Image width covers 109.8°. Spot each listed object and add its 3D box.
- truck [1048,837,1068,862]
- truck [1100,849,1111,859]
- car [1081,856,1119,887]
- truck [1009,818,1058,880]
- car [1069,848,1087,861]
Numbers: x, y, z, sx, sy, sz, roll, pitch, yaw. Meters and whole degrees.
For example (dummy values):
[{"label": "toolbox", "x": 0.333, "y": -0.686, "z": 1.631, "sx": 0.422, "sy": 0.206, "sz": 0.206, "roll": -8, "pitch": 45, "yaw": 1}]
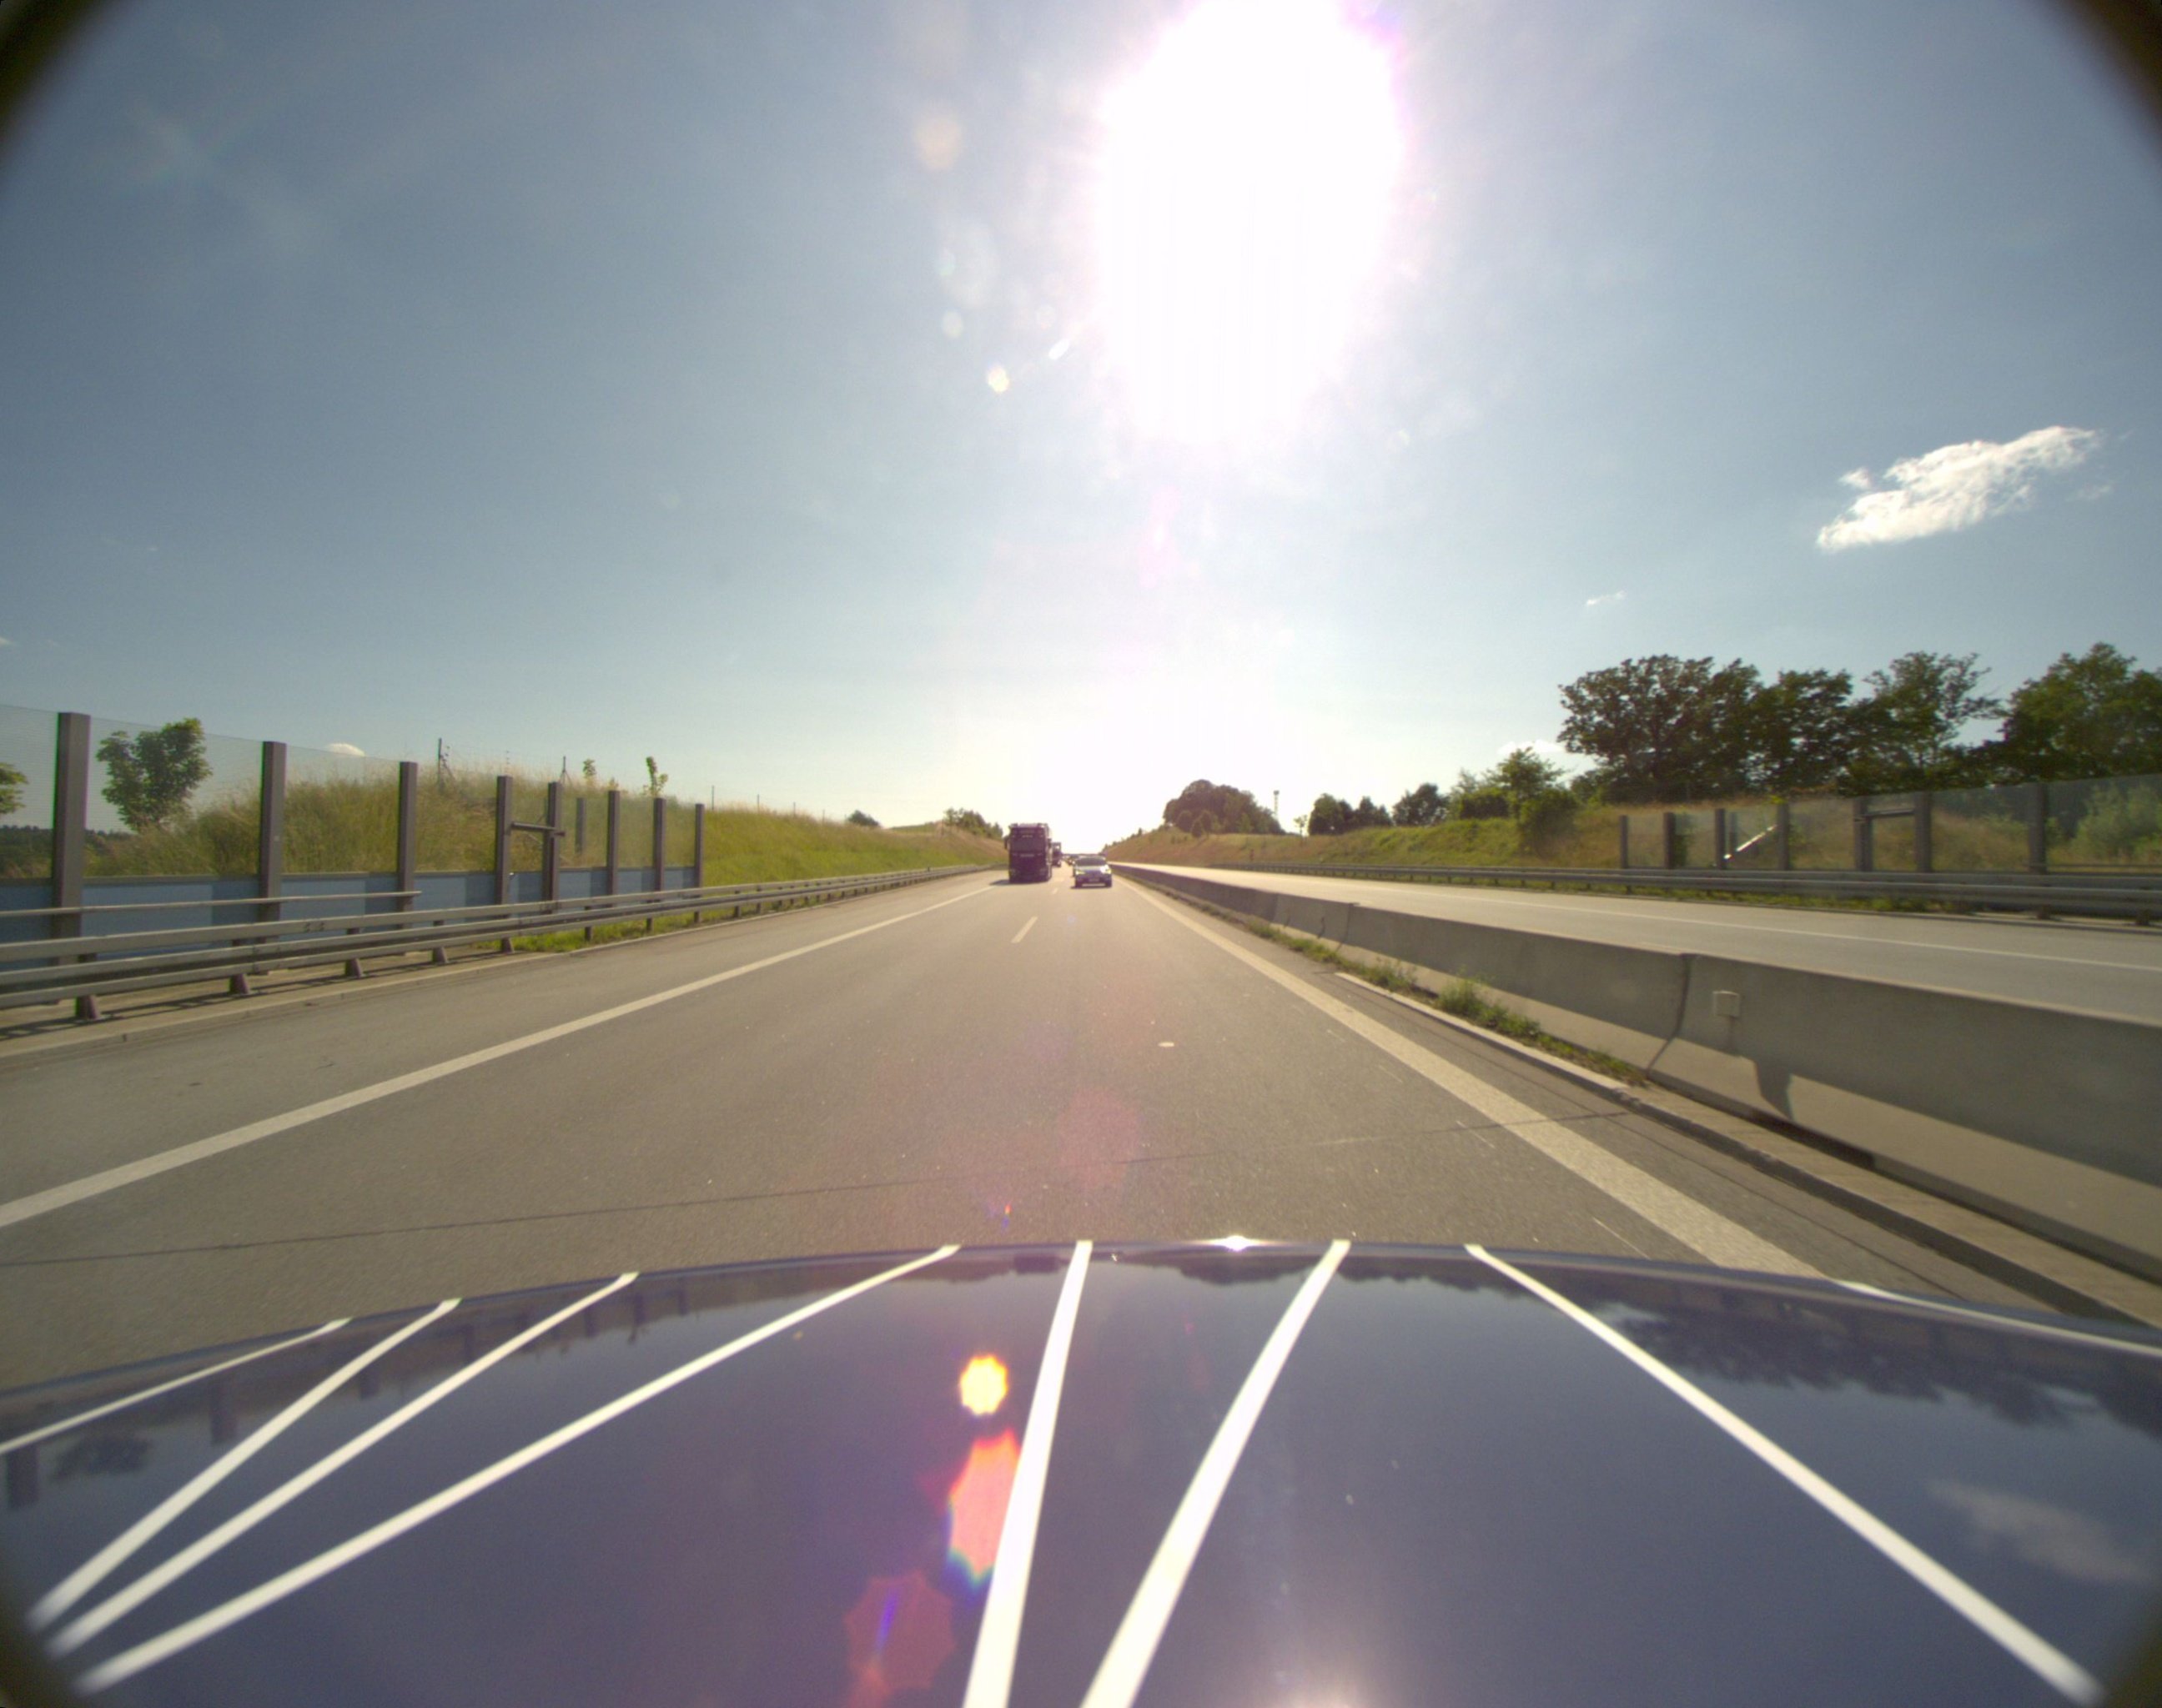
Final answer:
[{"label": "truck", "x": -3.840, "y": -0.734, "z": 123.548, "sx": 3.026, "sy": 3.795, "sz": 13.399, "roll": 1, "pitch": 0, "yaw": -3}, {"label": "truck", "x": 7.443, "y": 0.126, "z": 233.341, "sx": 2.781, "sy": 3.004, "sz": 6.791, "roll": -1, "pitch": 0, "yaw": -1}, {"label": "car", "x": 0.974, "y": 0.849, "z": 38.413, "sx": 1.795, "sy": 1.501, "sz": 3.635, "roll": 0, "pitch": 0, "yaw": 2}, {"label": "truck", "x": -3.179, "y": -0.331, "z": 54.171, "sx": 2.623, "sy": 3.795, "sz": 13.402, "roll": -1, "pitch": 0, "yaw": 0}, {"label": "car", "x": -0.520, "y": 0.132, "z": 131.753, "sx": 2.816, "sy": 2.143, "sz": 5.946, "roll": 1, "pitch": 0, "yaw": -2}]
